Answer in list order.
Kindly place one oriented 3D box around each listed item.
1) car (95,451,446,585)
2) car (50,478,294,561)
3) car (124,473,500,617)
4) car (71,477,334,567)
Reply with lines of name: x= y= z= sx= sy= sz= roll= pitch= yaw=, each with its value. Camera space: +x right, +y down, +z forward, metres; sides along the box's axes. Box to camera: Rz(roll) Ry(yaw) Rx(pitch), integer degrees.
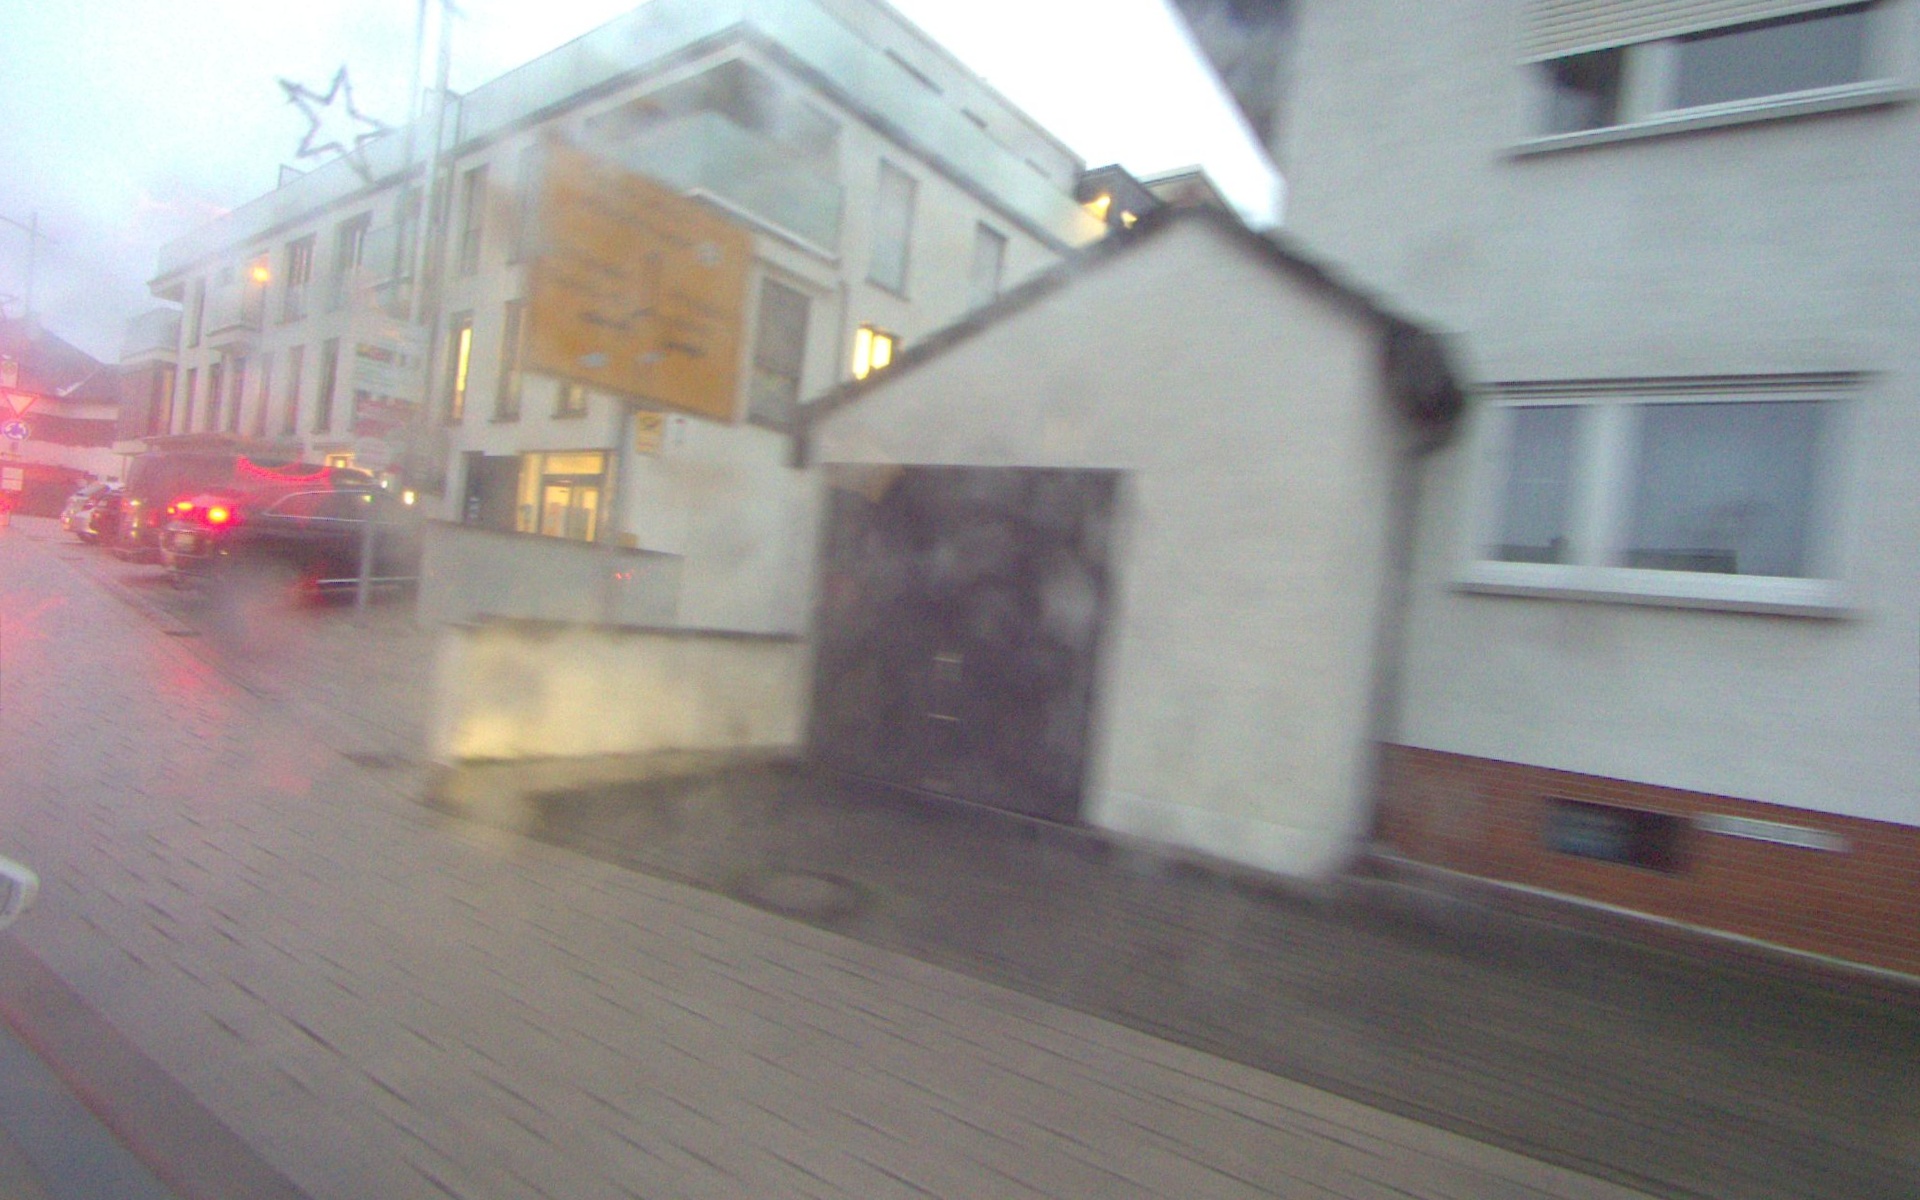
car: x=-11.493 y=-1.300 z=17.083 sx=1.920 sy=1.948 sz=4.552 roll=6 pitch=4 yaw=37
car: x=-18.598 y=-1.863 z=23.948 sx=1.764 sy=1.479 sz=4.204 roll=7 pitch=2 yaw=33
car: x=-9.028 y=-0.807 z=14.408 sx=1.774 sy=1.664 sz=4.170 roll=7 pitch=6 yaw=31
car: x=-16.316 y=-1.642 z=21.885 sx=1.764 sy=1.479 sz=4.204 roll=7 pitch=2 yaw=33
